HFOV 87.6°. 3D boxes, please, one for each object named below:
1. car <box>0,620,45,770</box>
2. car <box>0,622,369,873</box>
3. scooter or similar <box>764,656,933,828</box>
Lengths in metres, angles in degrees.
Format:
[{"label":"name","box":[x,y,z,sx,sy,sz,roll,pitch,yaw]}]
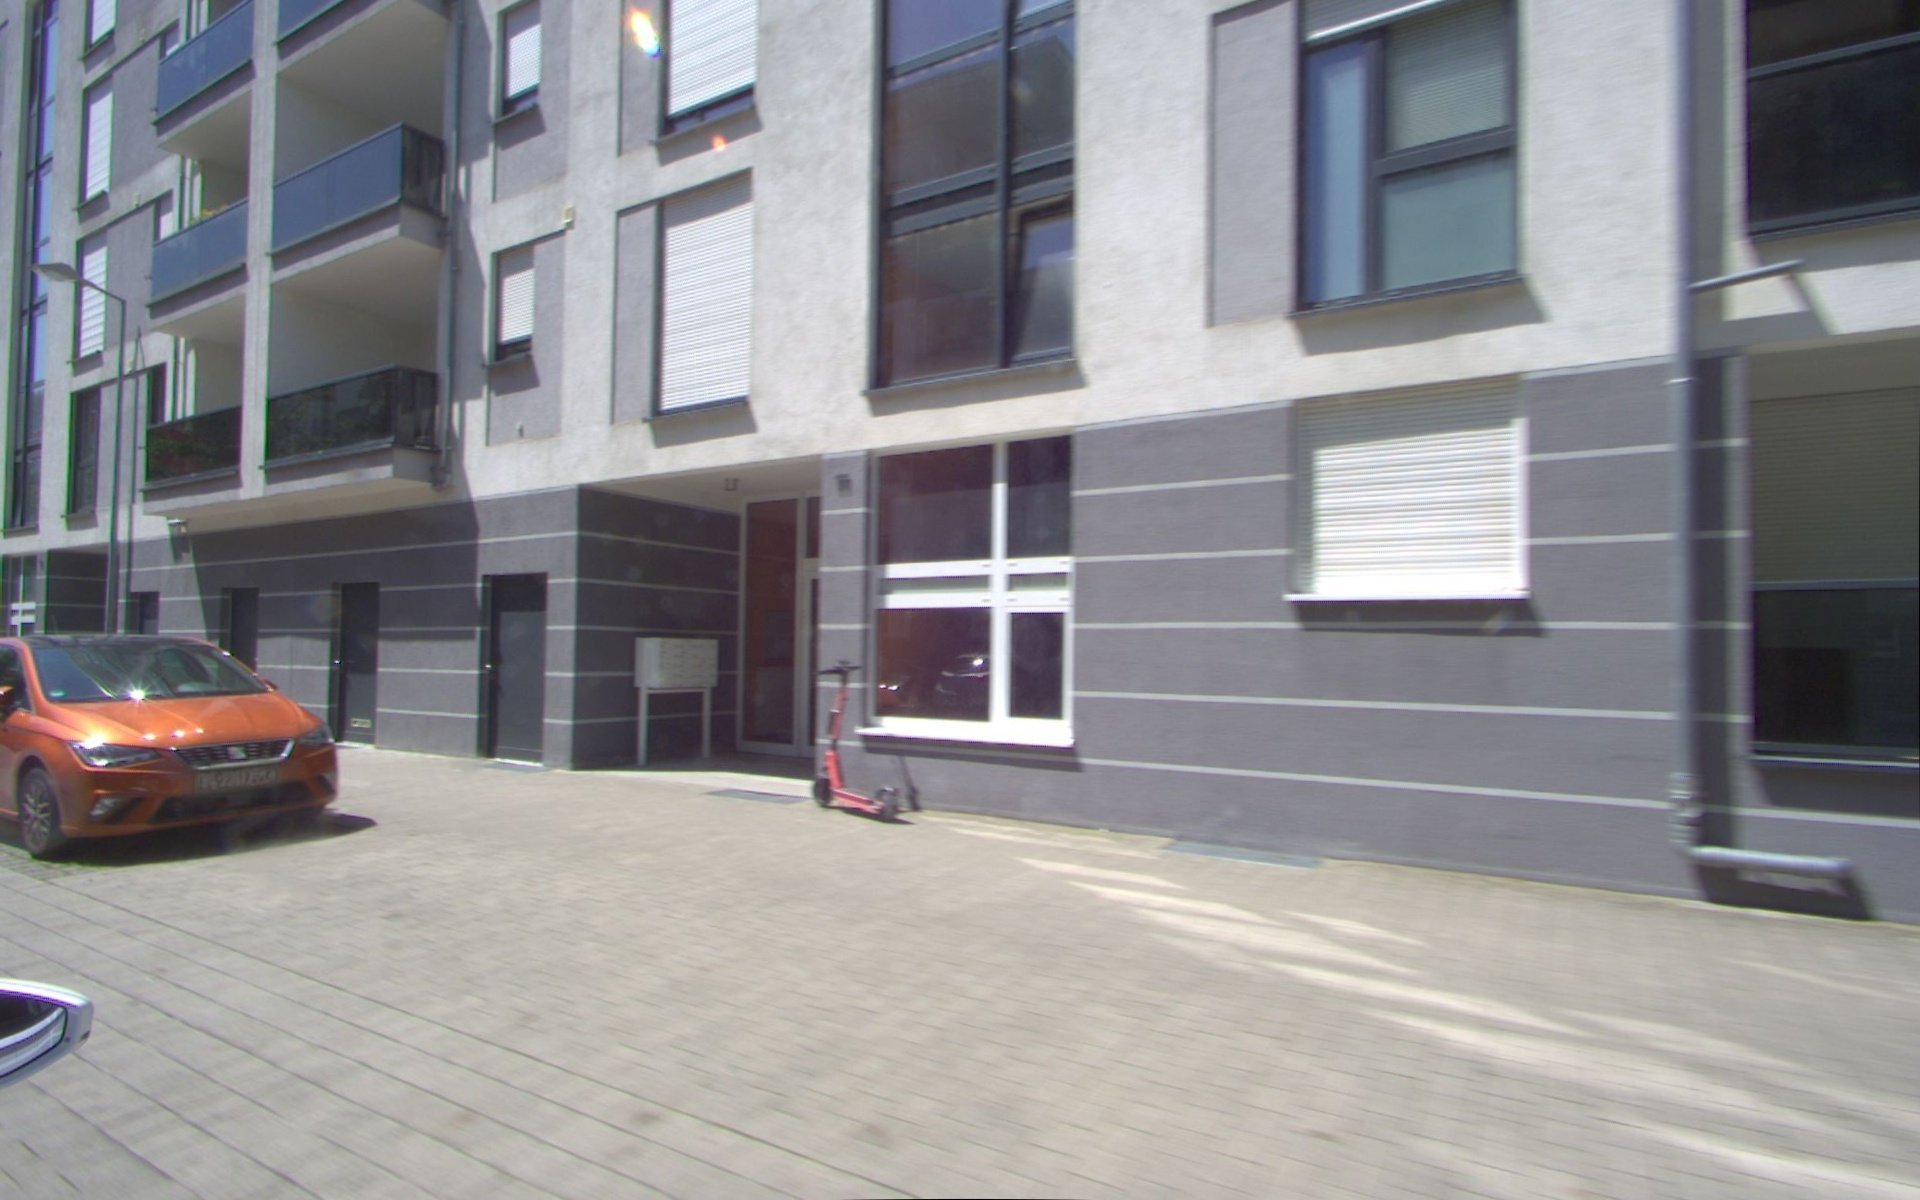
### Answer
[{"label":"car","box":[-11.376,0.962,10.613,3.623,1.505,1.592,-1,-1,32]},{"label":"car","box":[-6.653,0.931,7.878,4.197,1.506,1.734,-1,-1,32]},{"label":"scooter or similar","box":[-0.935,1.092,8.144,0.542,1.241,1.515,4,-3,-43]}]
